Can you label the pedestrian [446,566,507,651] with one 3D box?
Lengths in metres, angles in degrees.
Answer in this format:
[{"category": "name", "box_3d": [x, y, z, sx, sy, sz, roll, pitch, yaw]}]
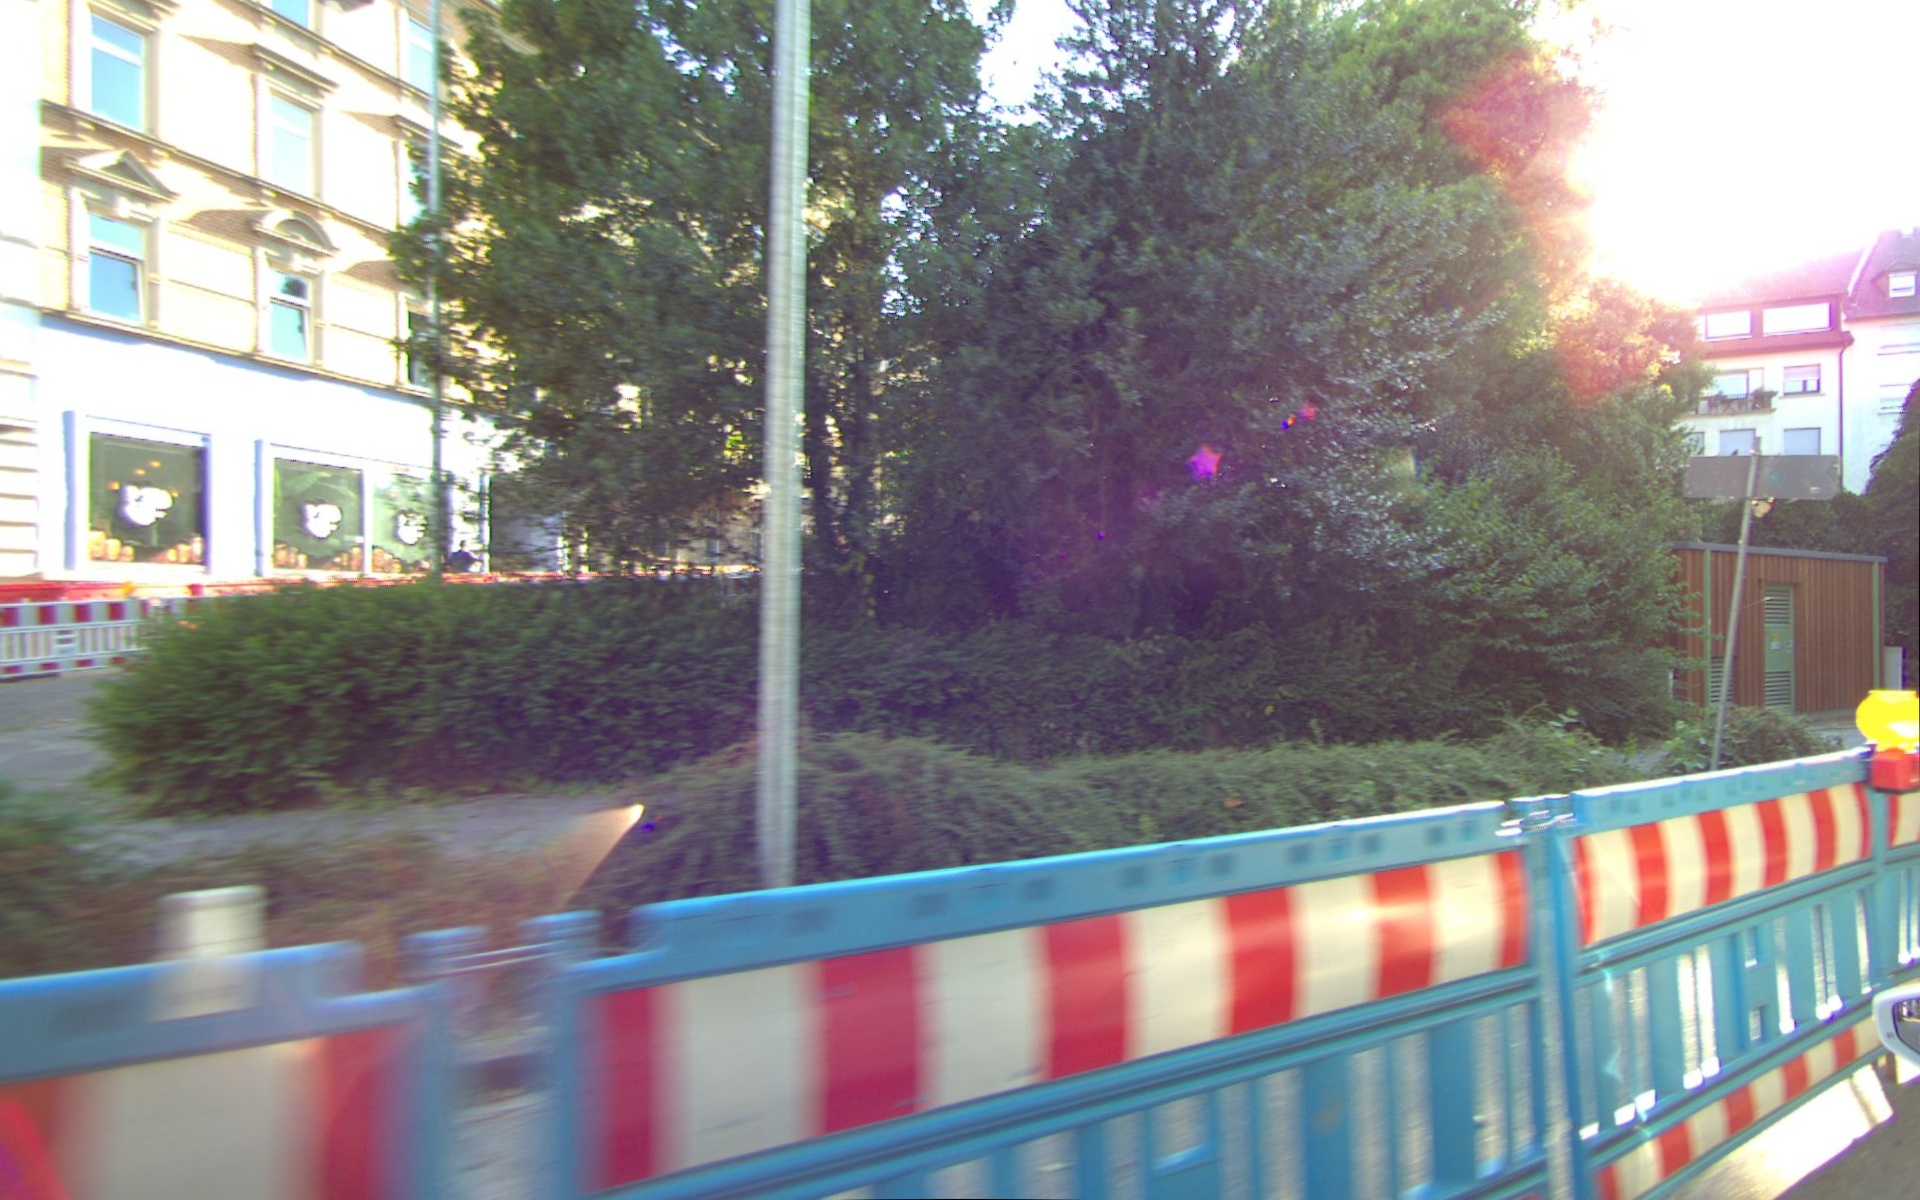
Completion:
[{"category": "pedestrian", "box_3d": [-11.792, 0.205, 24.505, 0.925, 2.040, 0.958, 0, 0, 26]}]
